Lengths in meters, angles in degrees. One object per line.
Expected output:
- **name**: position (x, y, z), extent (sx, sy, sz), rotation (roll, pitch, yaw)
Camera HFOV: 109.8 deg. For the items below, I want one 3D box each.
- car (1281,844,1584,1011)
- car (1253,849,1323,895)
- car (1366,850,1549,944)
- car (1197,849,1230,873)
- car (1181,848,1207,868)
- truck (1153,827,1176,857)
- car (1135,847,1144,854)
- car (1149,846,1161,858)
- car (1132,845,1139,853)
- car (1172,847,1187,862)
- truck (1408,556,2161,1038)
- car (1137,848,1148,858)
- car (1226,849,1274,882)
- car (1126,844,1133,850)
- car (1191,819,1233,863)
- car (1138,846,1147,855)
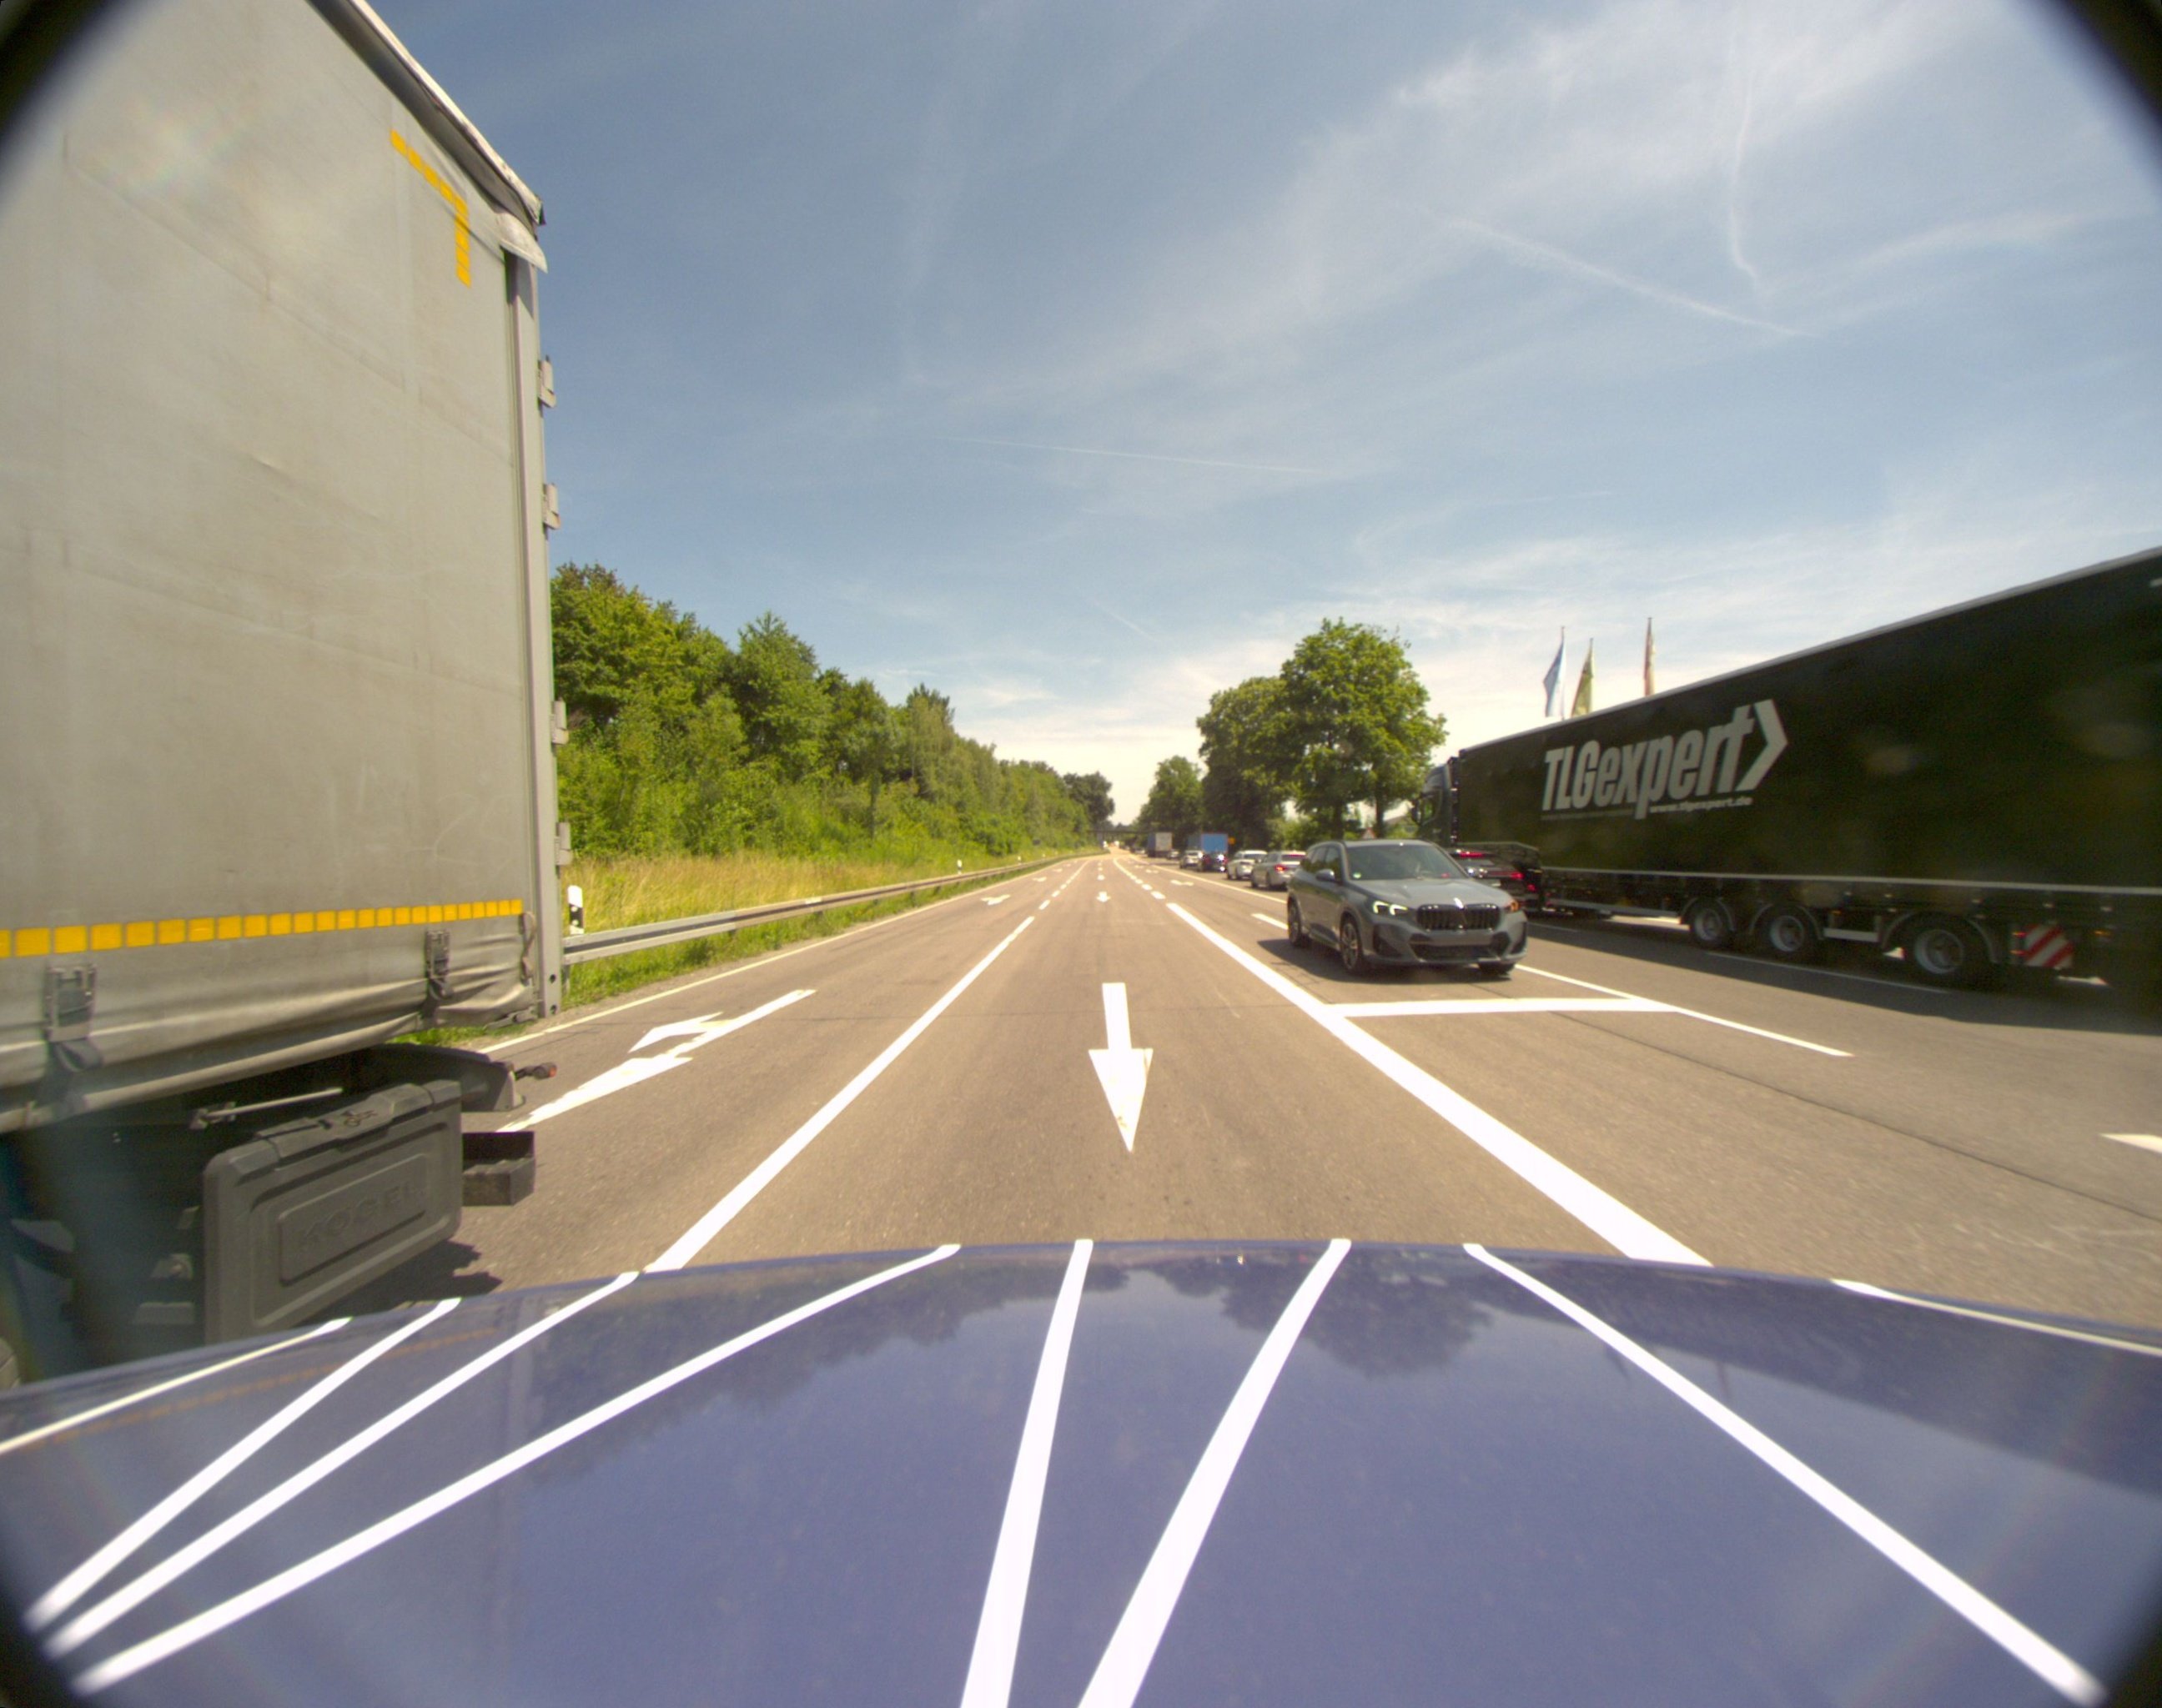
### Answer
- **car**: position (4.030, 0.692, 9.687), extent (1.928, 1.601, 4.510), rotation (-1, 1, 3)
- **car**: position (7.659, 0.619, 28.470), extent (1.687, 1.489, 3.821), rotation (2, 1, 3)
- **car**: position (7.062, 0.707, 14.745), extent (1.687, 1.489, 3.955), rotation (2, 1, 3)
- **car**: position (8.950, 0.414, 51.625), extent (1.687, 1.489, 3.955), rotation (2, 1, 3)
- **car**: position (9.227, 0.301, 62.176), extent (1.687, 1.489, 3.955), rotation (2, 1, 3)
- **truck**: position (13.540, -1.949, 123.386), extent (3.533, 4.496, 7.204), rotation (-2, 1, 6)
- **car**: position (14.100, -0.798, 182.390), extent (1.998, 1.707, 4.000), rotation (1, 0, 2)
- **car**: position (12.880, -0.357, 131.814), extent (1.898, 2.002, 3.754), rotation (1, 0, 7)
- **car**: position (15.349, -1.408, 214.869), extent (1.998, 2.002, 4.000), rotation (1, 0, 3)
- **car**: position (13.645, 0.095, 105.515), extent (1.997, 2.002, 4.001), rotation (1, 0, 6)
- **truck**: position (10.643, -0.532, 13.734), extent (2.850, 3.932, 17.088), rotation (2, 1, 3)
- **car**: position (12.701, -0.151, 156.524), extent (2.168, 2.002, 4.002), rotation (1, 0, 6)
- **car**: position (8.447, 0.536, 38.243), extent (1.687, 1.489, 3.955), rotation (2, 1, 3)
- **car**: position (15.386, -2.256, 239.630), extent (1.998, 2.002, 4.000), rotation (1, 0, 3)
- **car**: position (12.852, -1.252, 74.998), extent (3.350, 4.056, 7.695), rotation (1, 0, 5)
- **car**: position (13.789, -0.824, 169.919), extent (1.998, 2.002, 4.001), rotation (1, 0, 5)
